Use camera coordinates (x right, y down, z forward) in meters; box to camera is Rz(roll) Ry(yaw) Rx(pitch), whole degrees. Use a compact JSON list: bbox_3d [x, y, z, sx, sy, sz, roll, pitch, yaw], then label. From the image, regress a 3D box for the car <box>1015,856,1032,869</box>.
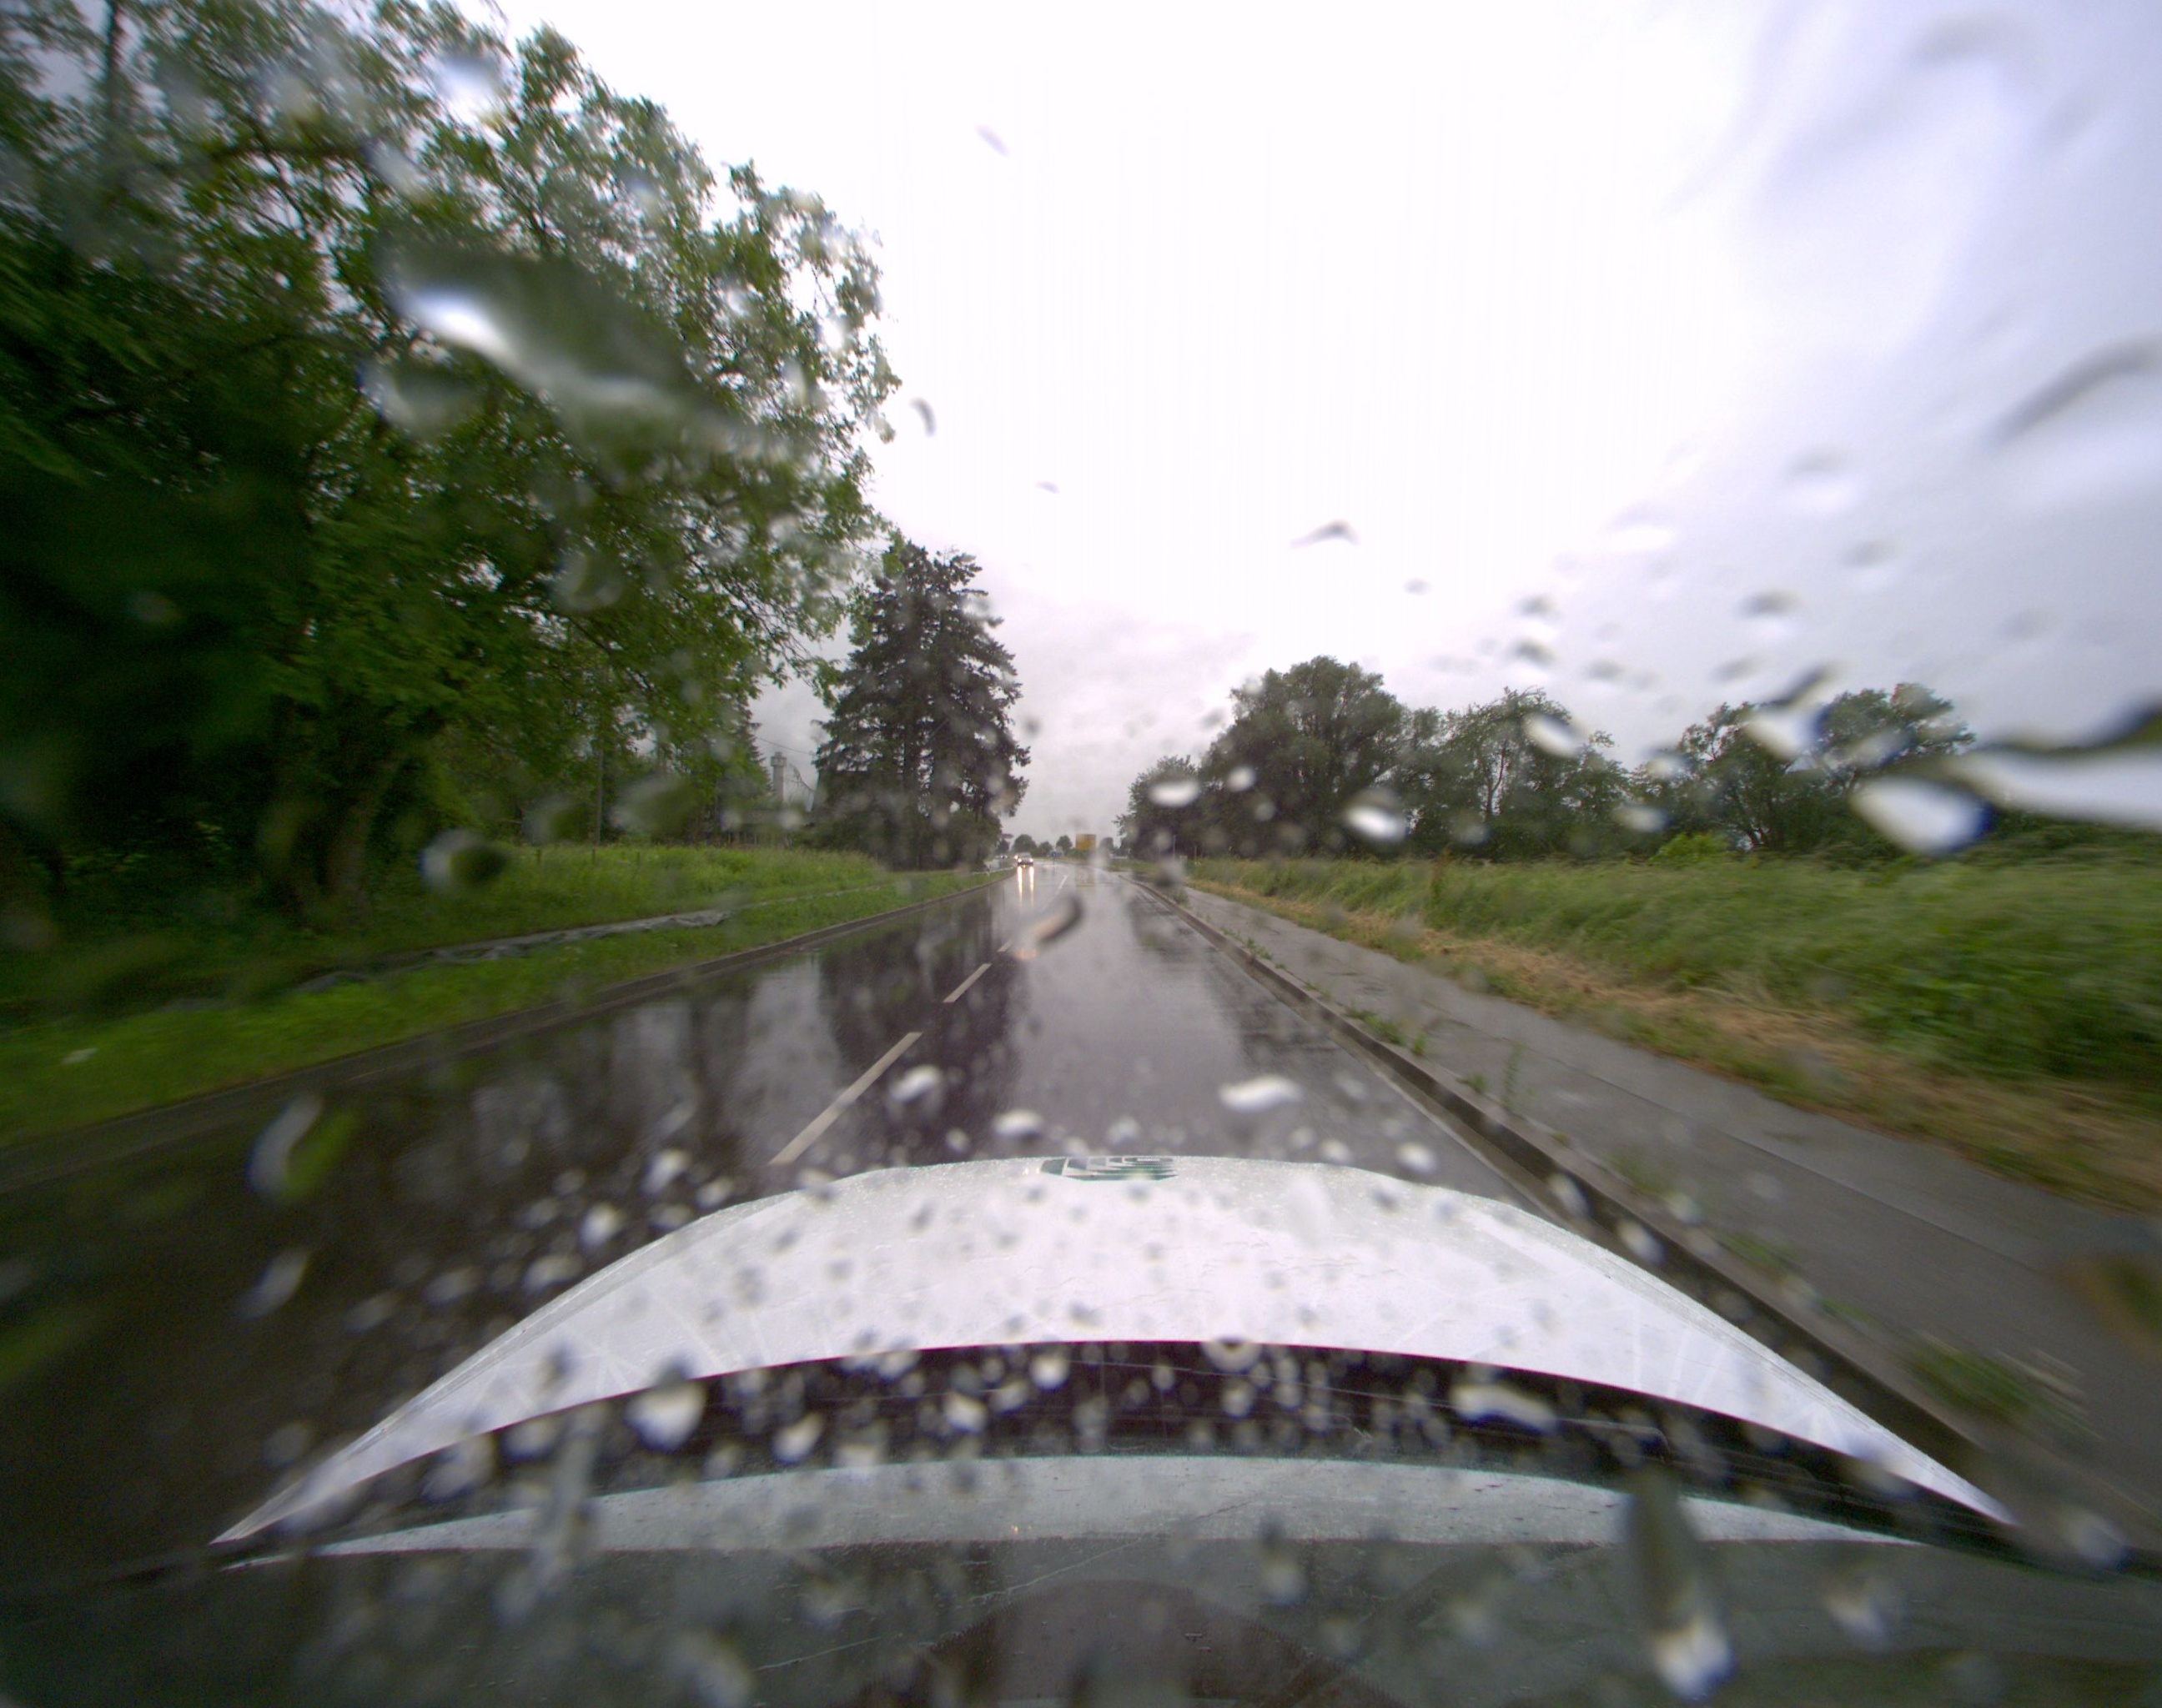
[{"bbox_3d":[-6.873,1.014,97.188,1.759,1.552,3.989,1,-1,-8],"label":"car"}]
